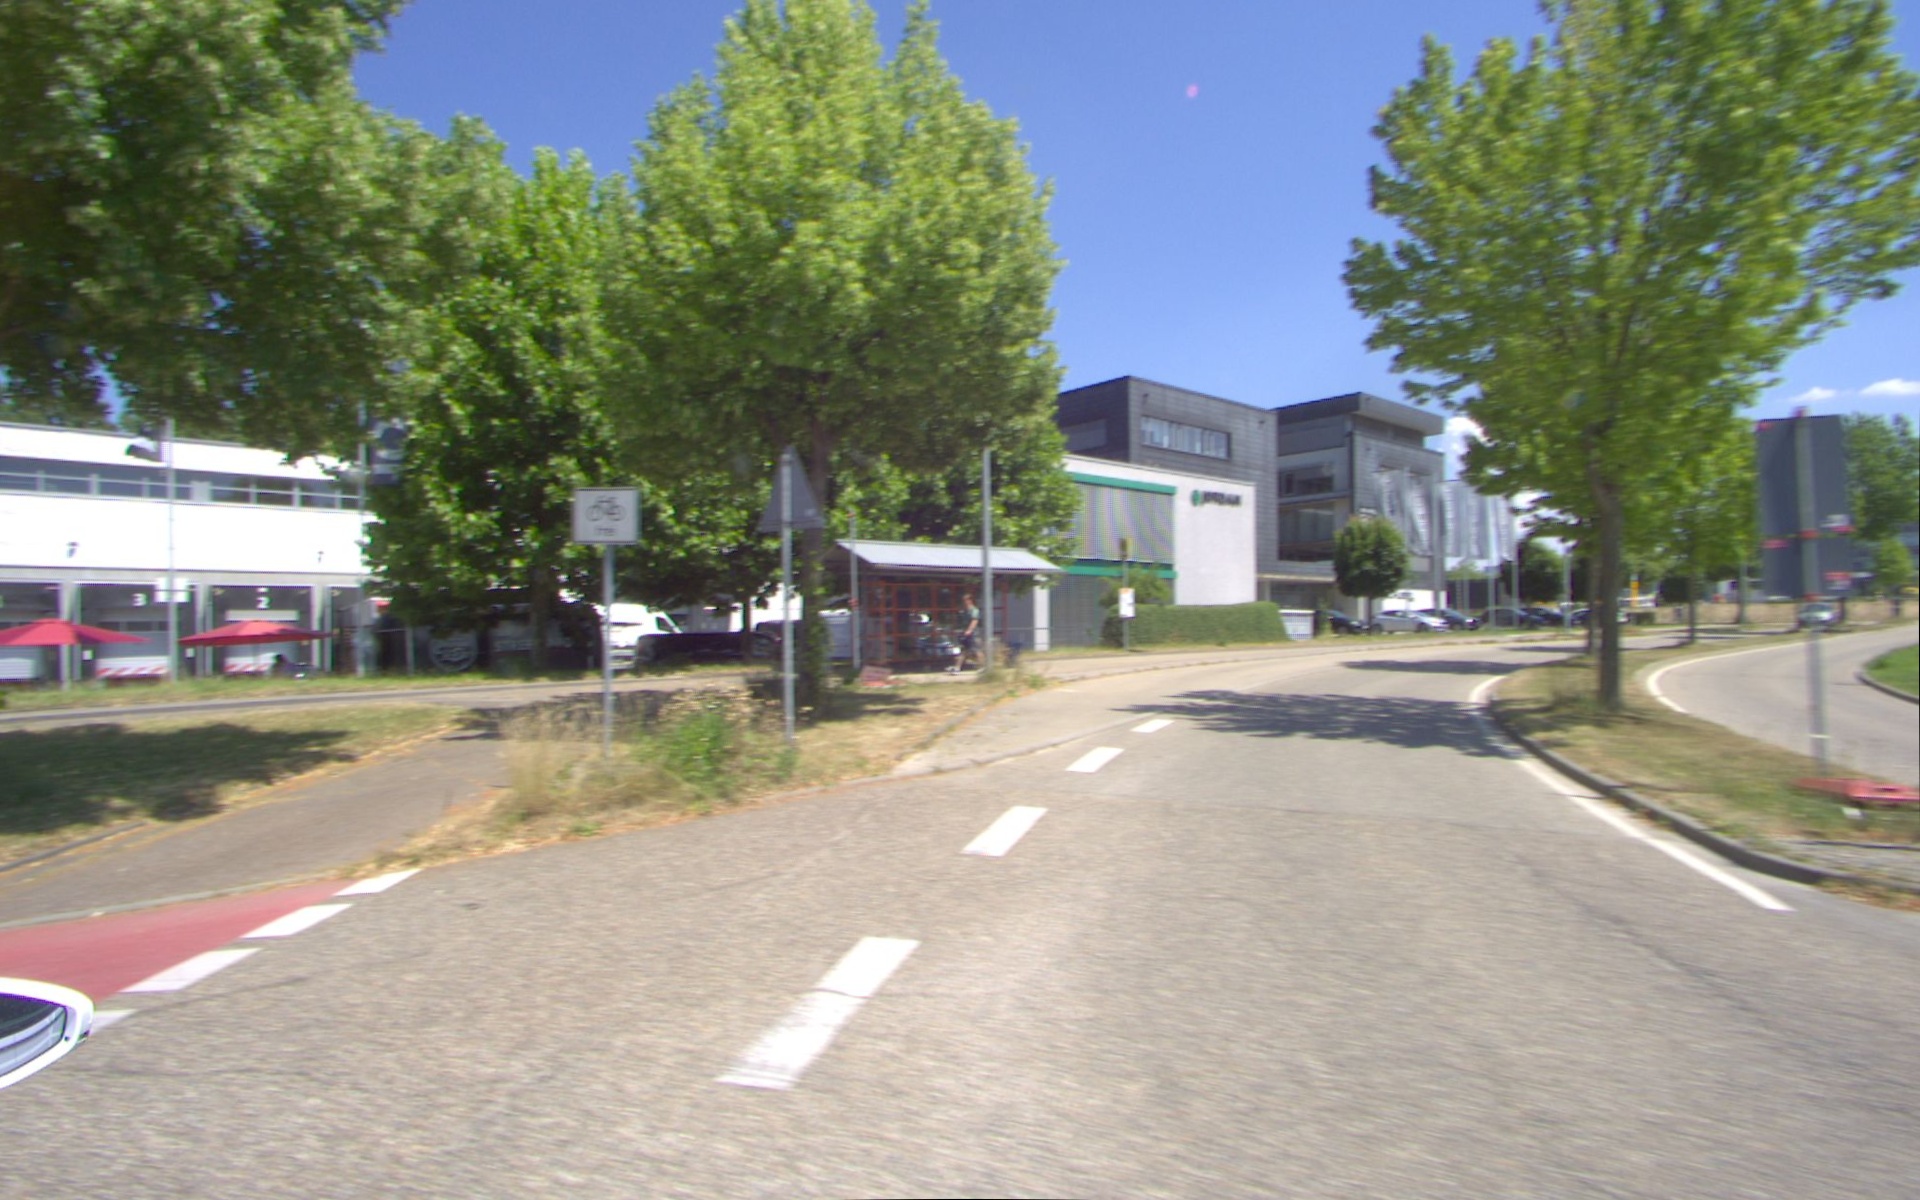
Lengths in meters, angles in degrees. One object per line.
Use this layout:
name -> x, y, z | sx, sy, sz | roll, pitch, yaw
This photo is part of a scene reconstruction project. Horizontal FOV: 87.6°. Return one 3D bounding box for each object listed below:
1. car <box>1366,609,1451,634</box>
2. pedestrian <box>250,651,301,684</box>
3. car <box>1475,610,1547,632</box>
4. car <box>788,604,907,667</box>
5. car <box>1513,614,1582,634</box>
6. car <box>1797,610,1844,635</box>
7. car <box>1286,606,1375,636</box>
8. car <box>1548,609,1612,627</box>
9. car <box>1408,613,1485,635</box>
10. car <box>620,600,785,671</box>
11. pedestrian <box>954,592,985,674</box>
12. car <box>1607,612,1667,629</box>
car -> 25.588, 1.259, 57.259 | 1.478, 1.197, 4.241 | 3, -5, -41
pedestrian -> -15.484, 1.520, 22.677 | 0.851, 0.704, 0.407 | -2, 0, -17
car -> 36.630, 1.411, 66.655 | 1.687, 1.290, 3.859 | -1, -1, -41
car -> -3.886, 1.265, 34.207 | 4.215, 2.038, 1.538 | -3, -4, 39
car -> 41.609, 1.717, 70.960 | 1.687, 1.290, 3.859 | -1, -1, -41
car -> 56.522, 1.496, 65.762 | 3.532, 1.523, 1.668 | 3, -4, -38
car -> 18.701, 1.083, 50.598 | 1.687, 1.397, 3.885 | -1, -1, -41
car -> 47.778, 1.378, 77.201 | 1.687, 1.290, 3.859 | -1, -1, -41
car -> 29.463, 1.462, 60.759 | 1.687, 1.198, 3.859 | -1, -1, -41
car -> -7.018, 0.938, 27.446 | 3.953, 1.750, 1.826 | -1, -1, -39
pedestrian -> 0.191, 0.695, 20.977 | 0.521, 1.690, 0.579 | 1, -3, -13
car -> 55.428, 1.659, 81.989 | 1.592, 1.290, 3.811 | -1, -1, -41
